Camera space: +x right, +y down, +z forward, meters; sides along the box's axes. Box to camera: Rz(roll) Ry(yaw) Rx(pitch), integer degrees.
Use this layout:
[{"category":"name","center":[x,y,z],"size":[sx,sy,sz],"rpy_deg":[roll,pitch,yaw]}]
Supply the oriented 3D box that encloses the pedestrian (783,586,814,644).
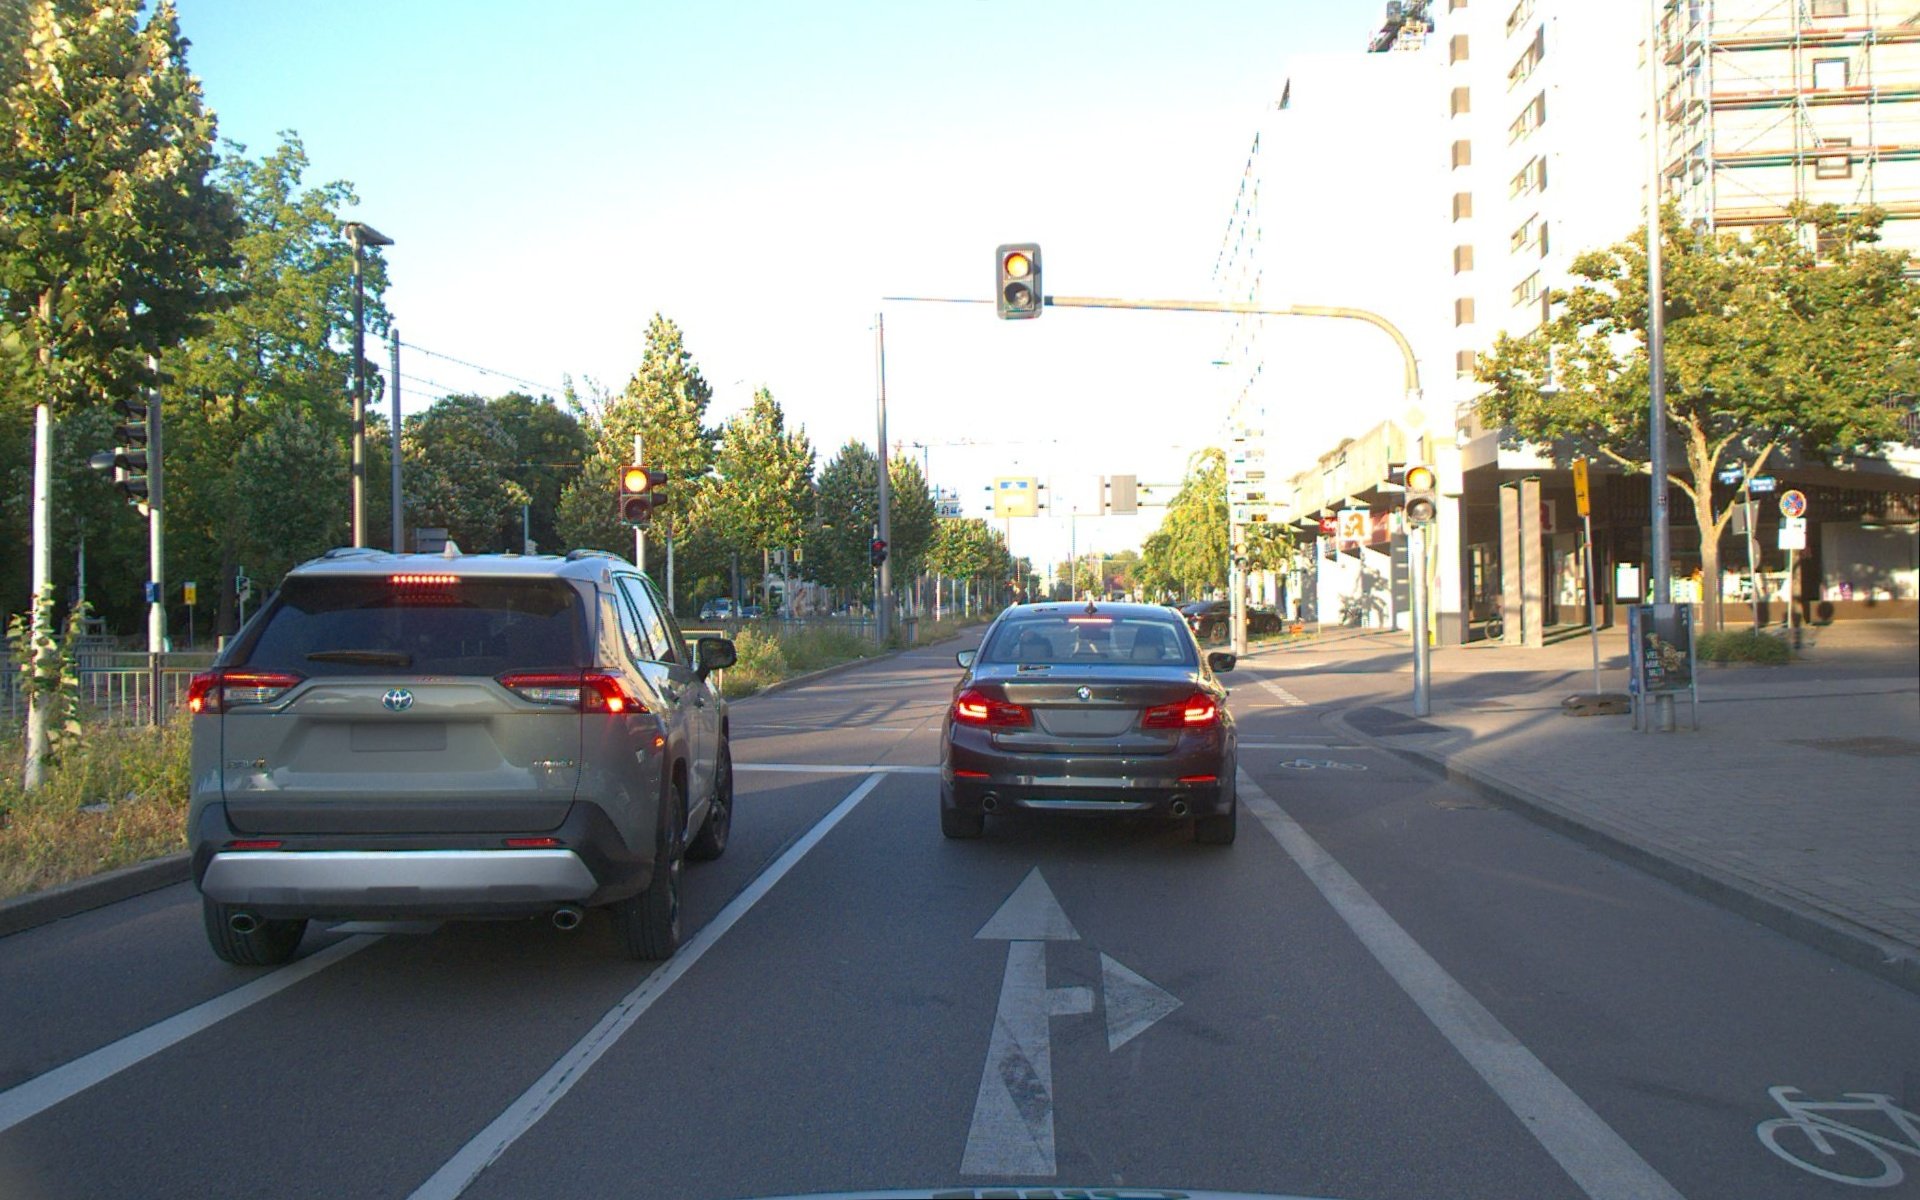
[{"category":"pedestrian","center":[-4.916,0.445,50.316],"size":[0.817,1.742,0.648],"rpy_deg":[-1,0,2]}]

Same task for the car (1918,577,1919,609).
[{"category":"car","center":[17.463,0.286,25.772],"size":[3.955,1.613,1.707],"rpy_deg":[-3,-3,8]}]

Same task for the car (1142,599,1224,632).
[{"category":"car","center":[12.095,0.804,89.623],"size":[4.213,1.687,1.841],"rpy_deg":[0,1,-32]}]

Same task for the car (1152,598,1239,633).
[{"category":"car","center":[11.881,0.764,83.439],"size":[4.214,1.687,1.840],"rpy_deg":[0,1,-33]}]

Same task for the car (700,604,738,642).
[{"category":"car","center":[-14.845,1.394,102.145],"size":[1.954,2.206,4.747],"rpy_deg":[0,1,-4]}]

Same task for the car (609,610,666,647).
[{"category":"car","center":[-16.914,1.476,86.934],"size":[1.952,1.775,4.752],"rpy_deg":[0,1,2]}]

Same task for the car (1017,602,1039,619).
[{"category":"car","center":[6.241,0.918,151.797],"size":[1.937,1.458,4.845],"rpy_deg":[0,1,3]}]

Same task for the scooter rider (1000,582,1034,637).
[{"category":"scooter rider","center":[1.622,0.271,46.949],"size":[0.806,1.540,0.651],"rpy_deg":[-1,0,-13]}]

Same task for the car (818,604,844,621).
[{"category":"car","center":[-11.684,1.104,149.932],"size":[1.762,1.507,3.785],"rpy_deg":[-1,0,4]}]

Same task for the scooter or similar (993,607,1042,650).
[{"category":"scooter or similar","center":[1.633,0.802,46.913],"size":[1.306,1.173,0.512],"rpy_deg":[-1,0,-13]}]

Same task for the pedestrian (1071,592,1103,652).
[{"category":"pedestrian","center":[3.431,0.590,44.668],"size":[0.817,1.614,0.812],"rpy_deg":[-1,0,6]}]

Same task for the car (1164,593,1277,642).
[{"category":"car","center":[9.644,0.610,61.147],"size":[4.227,1.687,1.834],"rpy_deg":[-1,1,-40]}]

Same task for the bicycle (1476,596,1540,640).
[{"category":"bicycle","center":[15.090,0.486,45.600],"size":[0.677,1.169,2.015],"rpy_deg":[2,-1,-15]}]

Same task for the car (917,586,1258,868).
[{"category":"car","center":[0.879,0.686,11.480],"size":[1.891,1.507,4.525],"rpy_deg":[0,1,4]}]

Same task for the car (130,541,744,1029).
[{"category":"car","center":[-2.093,0.601,7.911],"size":[1.818,1.687,4.265],"rpy_deg":[0,1,-4]}]

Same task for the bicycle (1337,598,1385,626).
[{"category":"bicycle","center":[17.721,0.533,73.143],"size":[1.973,1.169,0.691],"rpy_deg":[2,-1,10]}]

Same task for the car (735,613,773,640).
[{"category":"car","center":[-14.374,1.833,115.525],"size":[1.952,1.775,4.752],"rpy_deg":[0,1,2]}]
